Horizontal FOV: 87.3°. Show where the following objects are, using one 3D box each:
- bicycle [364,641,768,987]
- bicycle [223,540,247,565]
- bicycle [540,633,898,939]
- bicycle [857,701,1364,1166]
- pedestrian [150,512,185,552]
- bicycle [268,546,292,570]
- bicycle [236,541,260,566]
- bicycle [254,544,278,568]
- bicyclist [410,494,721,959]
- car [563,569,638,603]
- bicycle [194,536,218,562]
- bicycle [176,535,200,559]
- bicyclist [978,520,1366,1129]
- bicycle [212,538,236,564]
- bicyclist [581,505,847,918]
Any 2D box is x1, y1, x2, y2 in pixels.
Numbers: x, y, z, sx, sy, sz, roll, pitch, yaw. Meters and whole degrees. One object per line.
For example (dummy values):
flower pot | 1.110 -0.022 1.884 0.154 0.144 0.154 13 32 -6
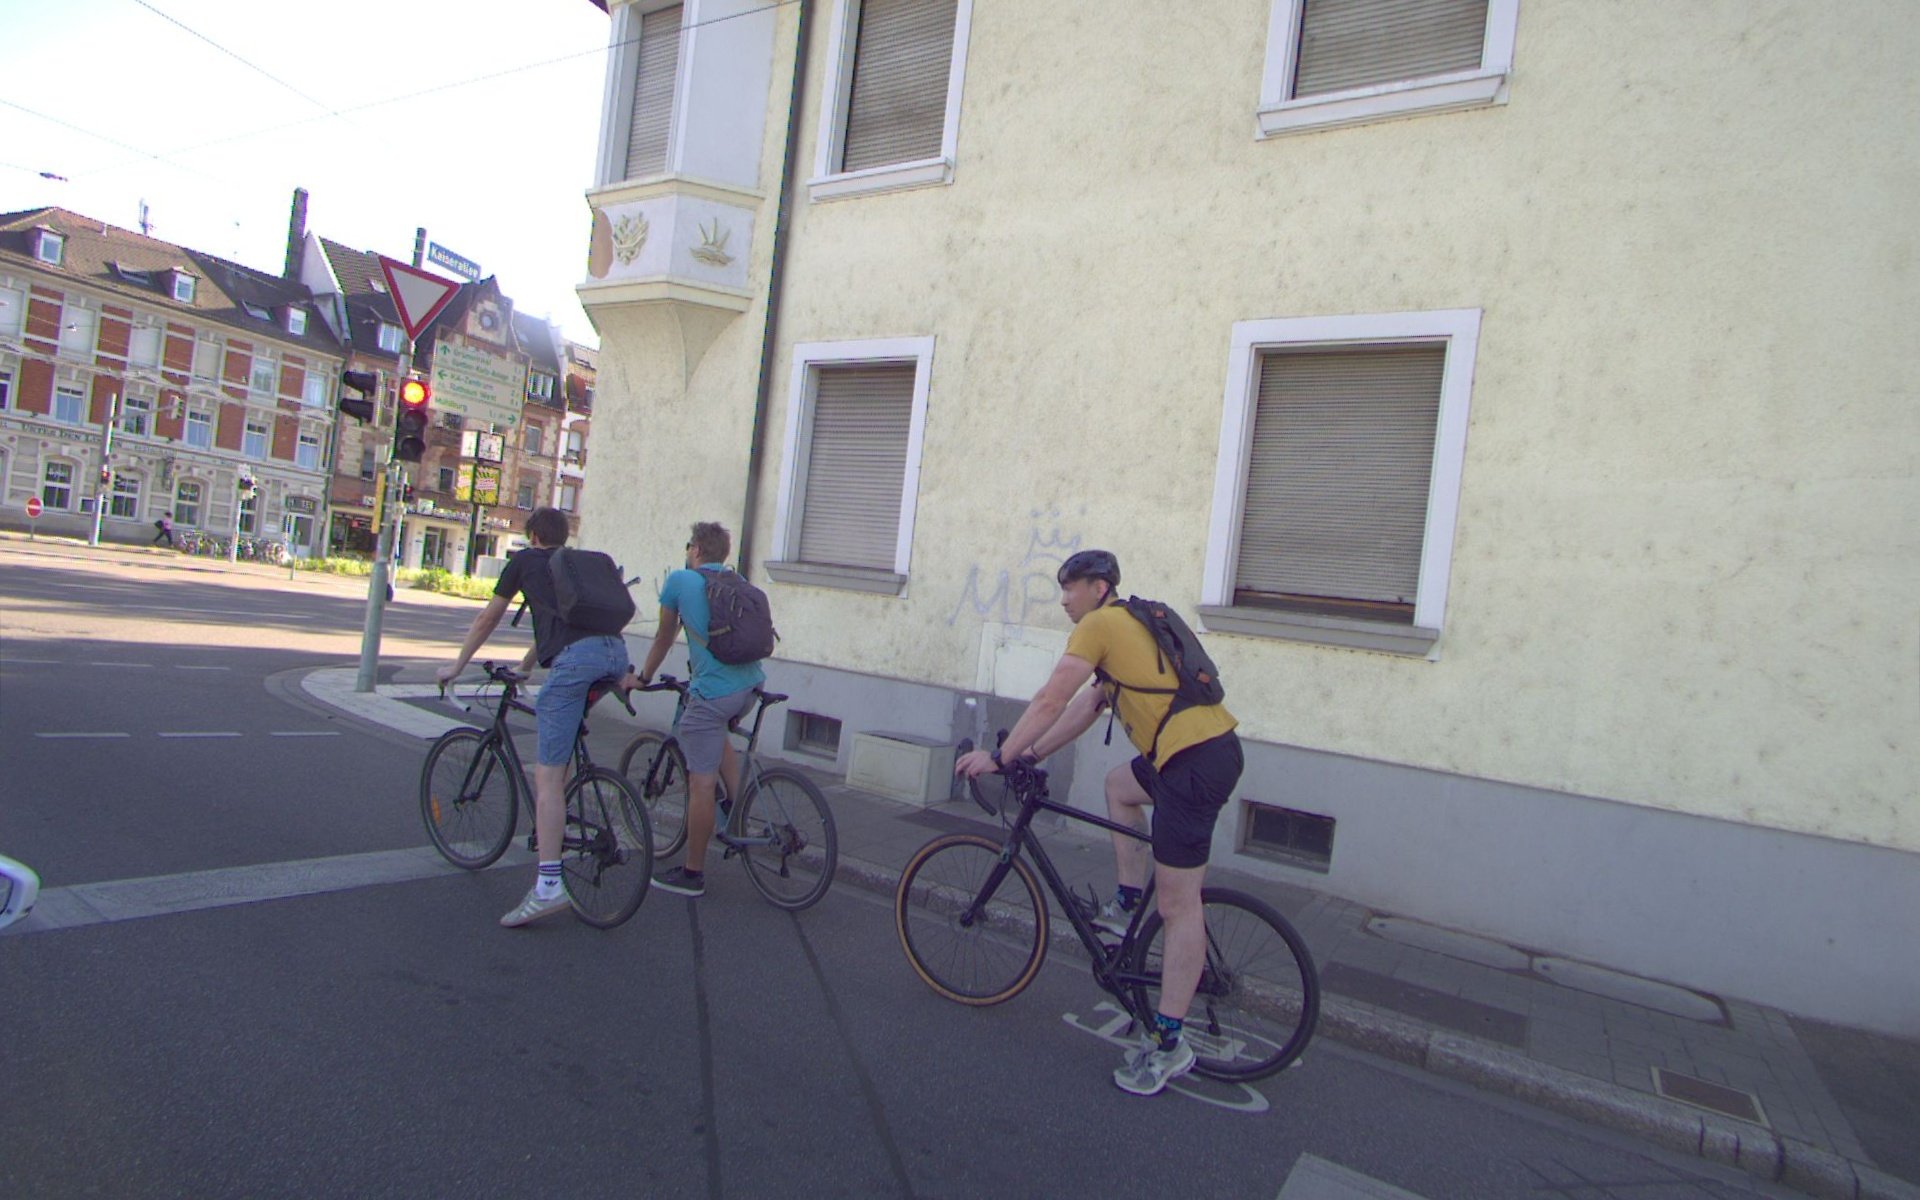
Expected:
bicycle | -1.799 0.839 4.467 1.858 1.071 0.571 7 0 32
bicycle | -34.003 -2.247 47.169 1.759 1.033 0.485 7 0 42
bicycle | -1.309 0.881 5.279 1.858 1.180 0.571 7 0 32
bicycle | 0.513 1.094 3.771 1.670 1.180 0.571 7 0 32
pedestrian | -37.742 -3.251 47.895 0.620 1.731 1.035 6 -1 40
bicycle | -33.093 -2.055 48.976 1.759 1.033 0.485 7 0 42
bicycle | -33.675 -2.188 47.560 1.759 1.033 0.485 7 0 42
bicycle | -33.312 -2.111 48.288 1.759 1.033 0.485 7 0 42
bicyclist | -1.750 0.495 4.468 0.978 1.788 0.652 7 0 32
car | -23.276 -0.891 65.286 1.966 1.641 4.261 7 -1 29
bicycle | -34.641 -2.338 46.199 1.759 1.033 0.485 7 0 42
bicycle | -35.066 -2.411 45.663 1.759 0.925 0.485 7 0 42
bicyclist | 0.772 0.700 3.655 1.019 1.839 0.652 7 0 32
bicycle | -34.189 -2.289 46.745 1.759 1.033 0.485 7 0 42
bicyclist | -1.286 0.528 5.269 0.978 1.910 0.652 7 0 32
